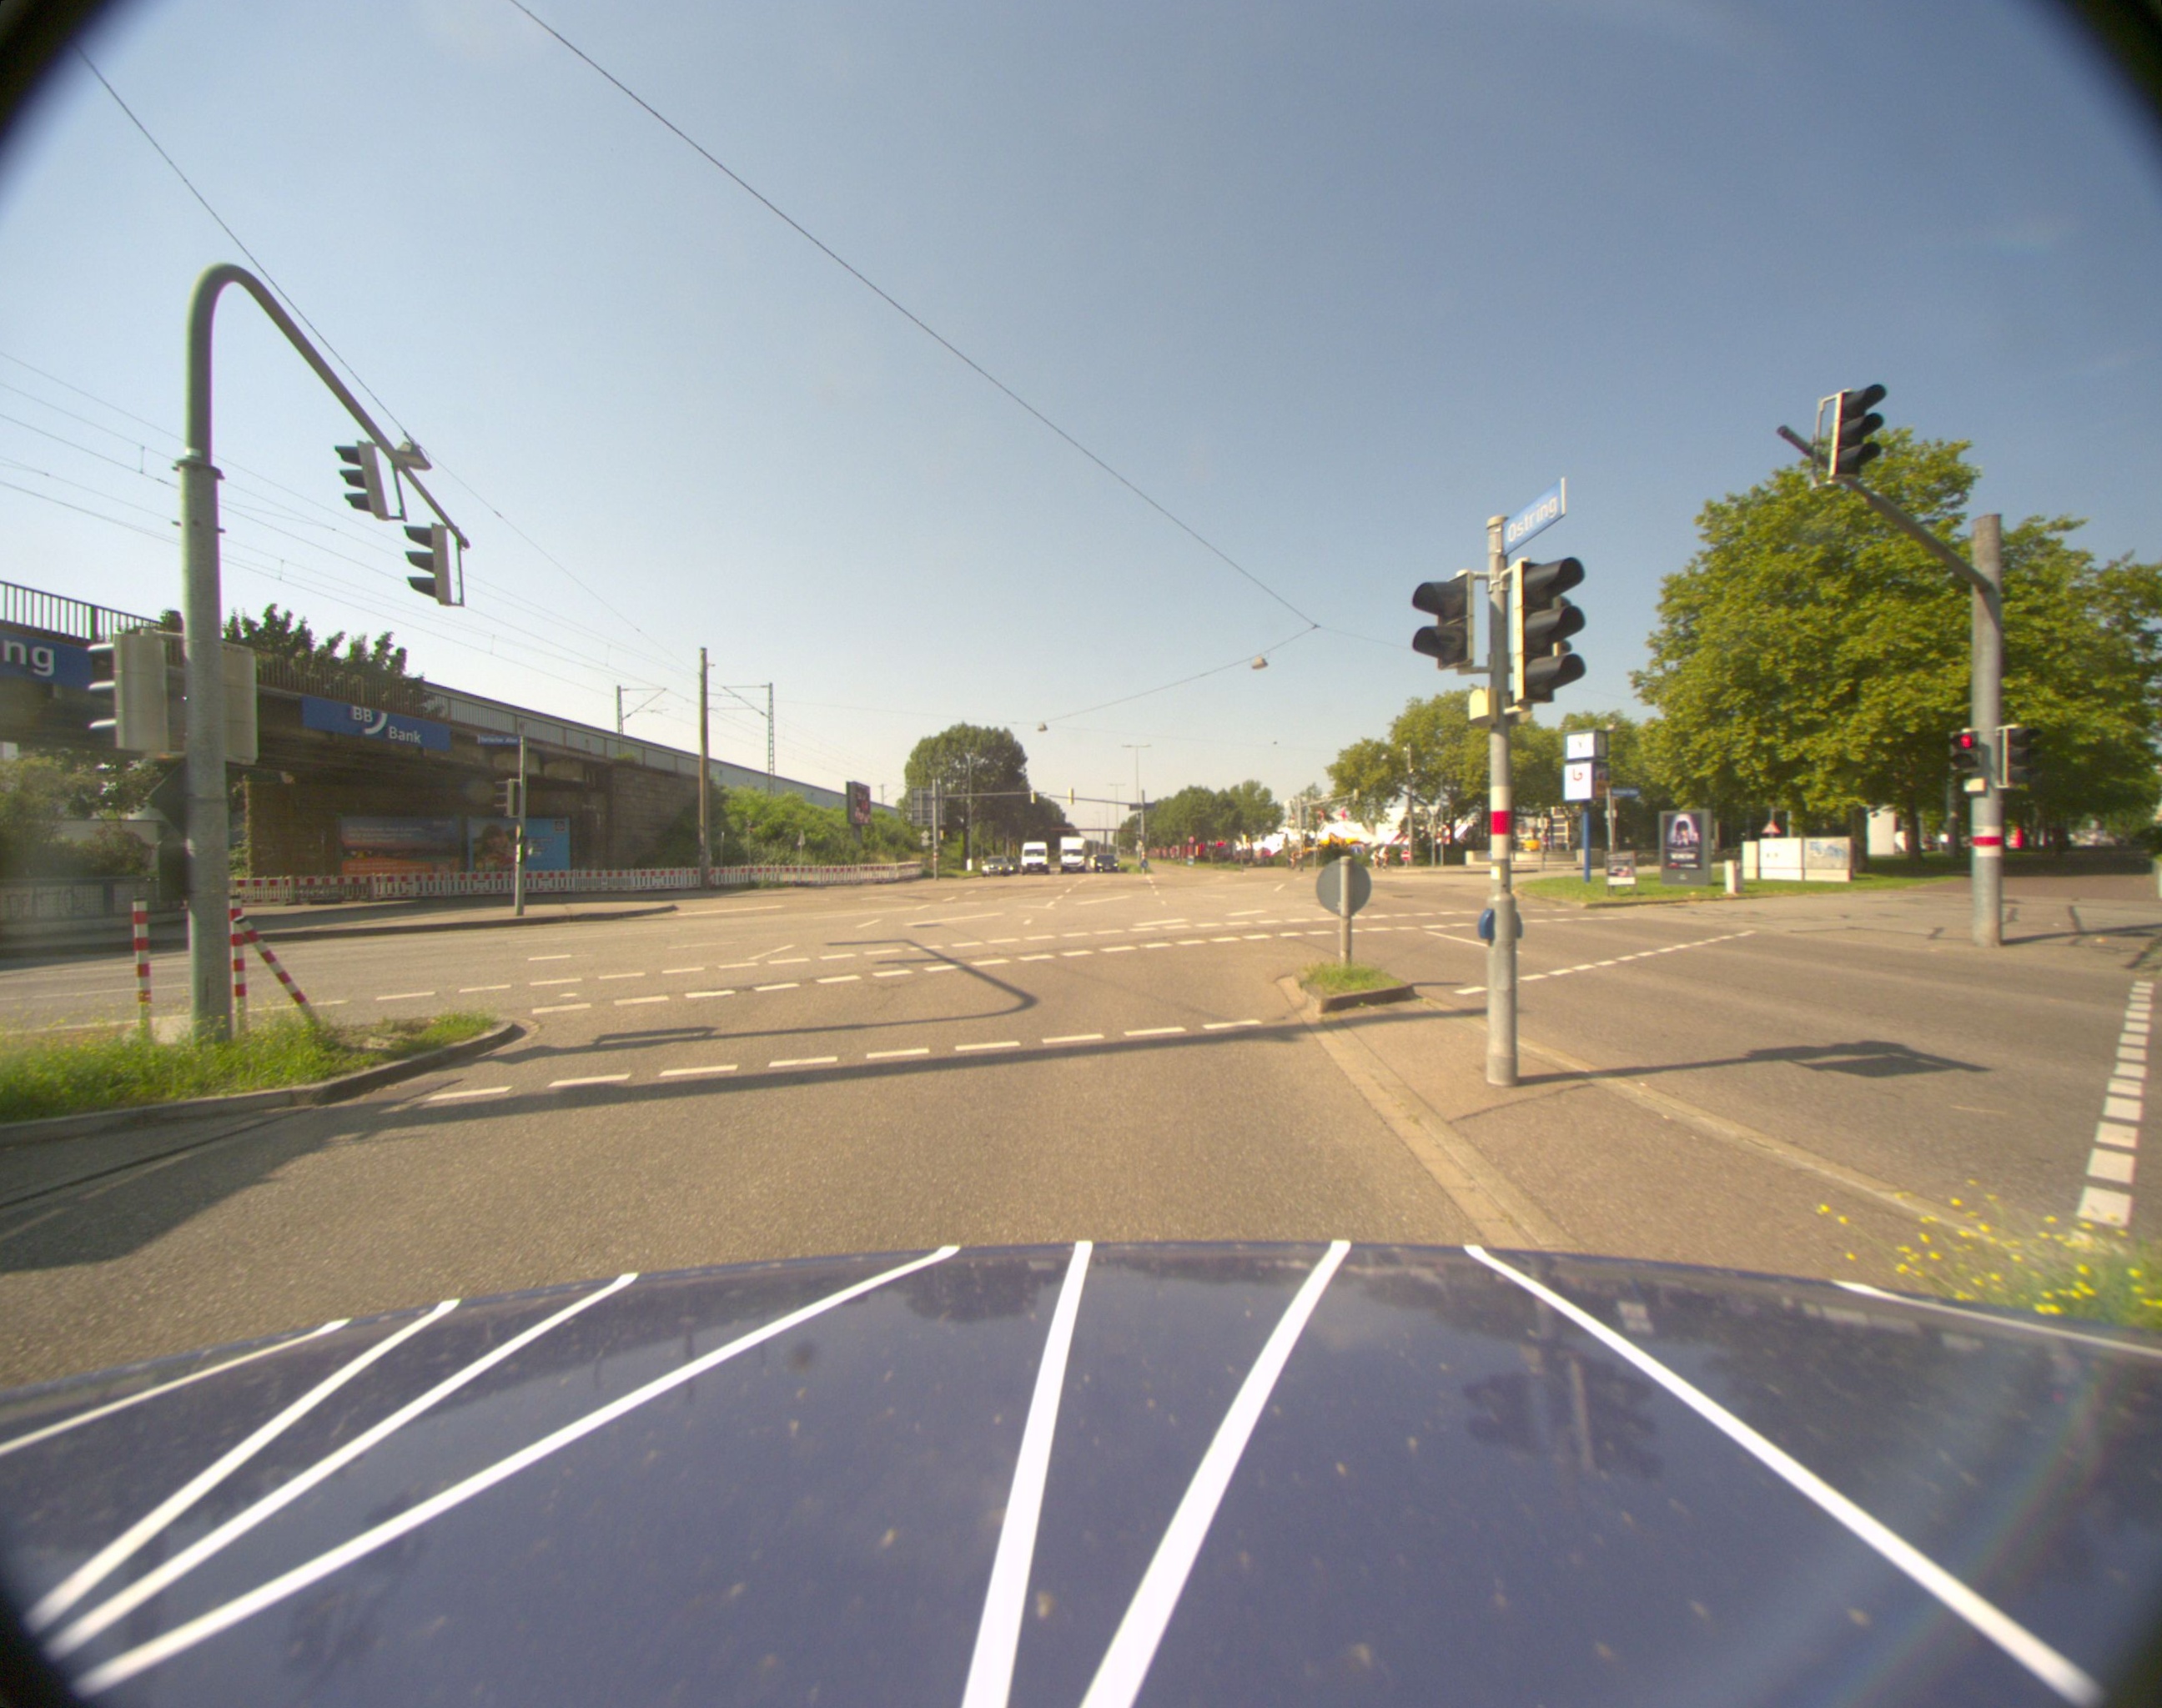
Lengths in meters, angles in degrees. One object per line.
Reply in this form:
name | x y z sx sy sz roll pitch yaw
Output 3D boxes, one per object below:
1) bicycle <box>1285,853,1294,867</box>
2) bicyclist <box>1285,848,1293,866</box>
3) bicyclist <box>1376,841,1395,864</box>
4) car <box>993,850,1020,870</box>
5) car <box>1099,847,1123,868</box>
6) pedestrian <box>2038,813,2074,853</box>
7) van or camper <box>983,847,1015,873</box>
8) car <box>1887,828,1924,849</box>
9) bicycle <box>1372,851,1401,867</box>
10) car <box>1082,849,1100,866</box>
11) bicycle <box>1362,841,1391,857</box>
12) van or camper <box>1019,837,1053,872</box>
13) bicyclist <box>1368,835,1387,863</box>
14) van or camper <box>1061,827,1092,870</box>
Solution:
bicycle | 16.662 0.479 60.728 0.571 1.049 1.496 -3 -1 21
bicyclist | 16.634 0.256 60.691 0.502 1.356 0.698 -3 -1 22
bicyclist | 21.362 -0.105 53.349 0.598 1.584 1.204 -2 -1 -12
car | -6.258 0.452 64.263 1.999 1.543 3.999 -2 1 -2
car | 2.581 0.357 65.826 1.904 1.603 5.198 -3 -2 2
pedestrian | 49.948 -1.074 38.924 1.351 2.001 0.947 -2 -1 -34
van or camper | -6.170 0.497 57.756 1.850 1.765 4.175 -3 -2 0
car | 92.969 -1.734 85.615 4.664 2.219 2.287 -1 -2 -37
bicycle | 21.379 0.332 53.251 0.773 1.081 2.218 -2 0 -11
car | 1.074 0.393 79.699 1.655 1.654 3.757 -3 -2 5
bicycle | 21.897 -0.349 56.314 0.773 1.081 2.259 1 -1 -18
van or camper | -3.534 0.111 60.947 2.248 2.467 6.867 -3 -2 0
bicyclist | 21.900 -0.345 56.184 0.598 2.001 1.203 -2 -1 -17
van or camper | -0.325 -0.406 65.067 2.247 3.341 6.853 -3 -1 2
